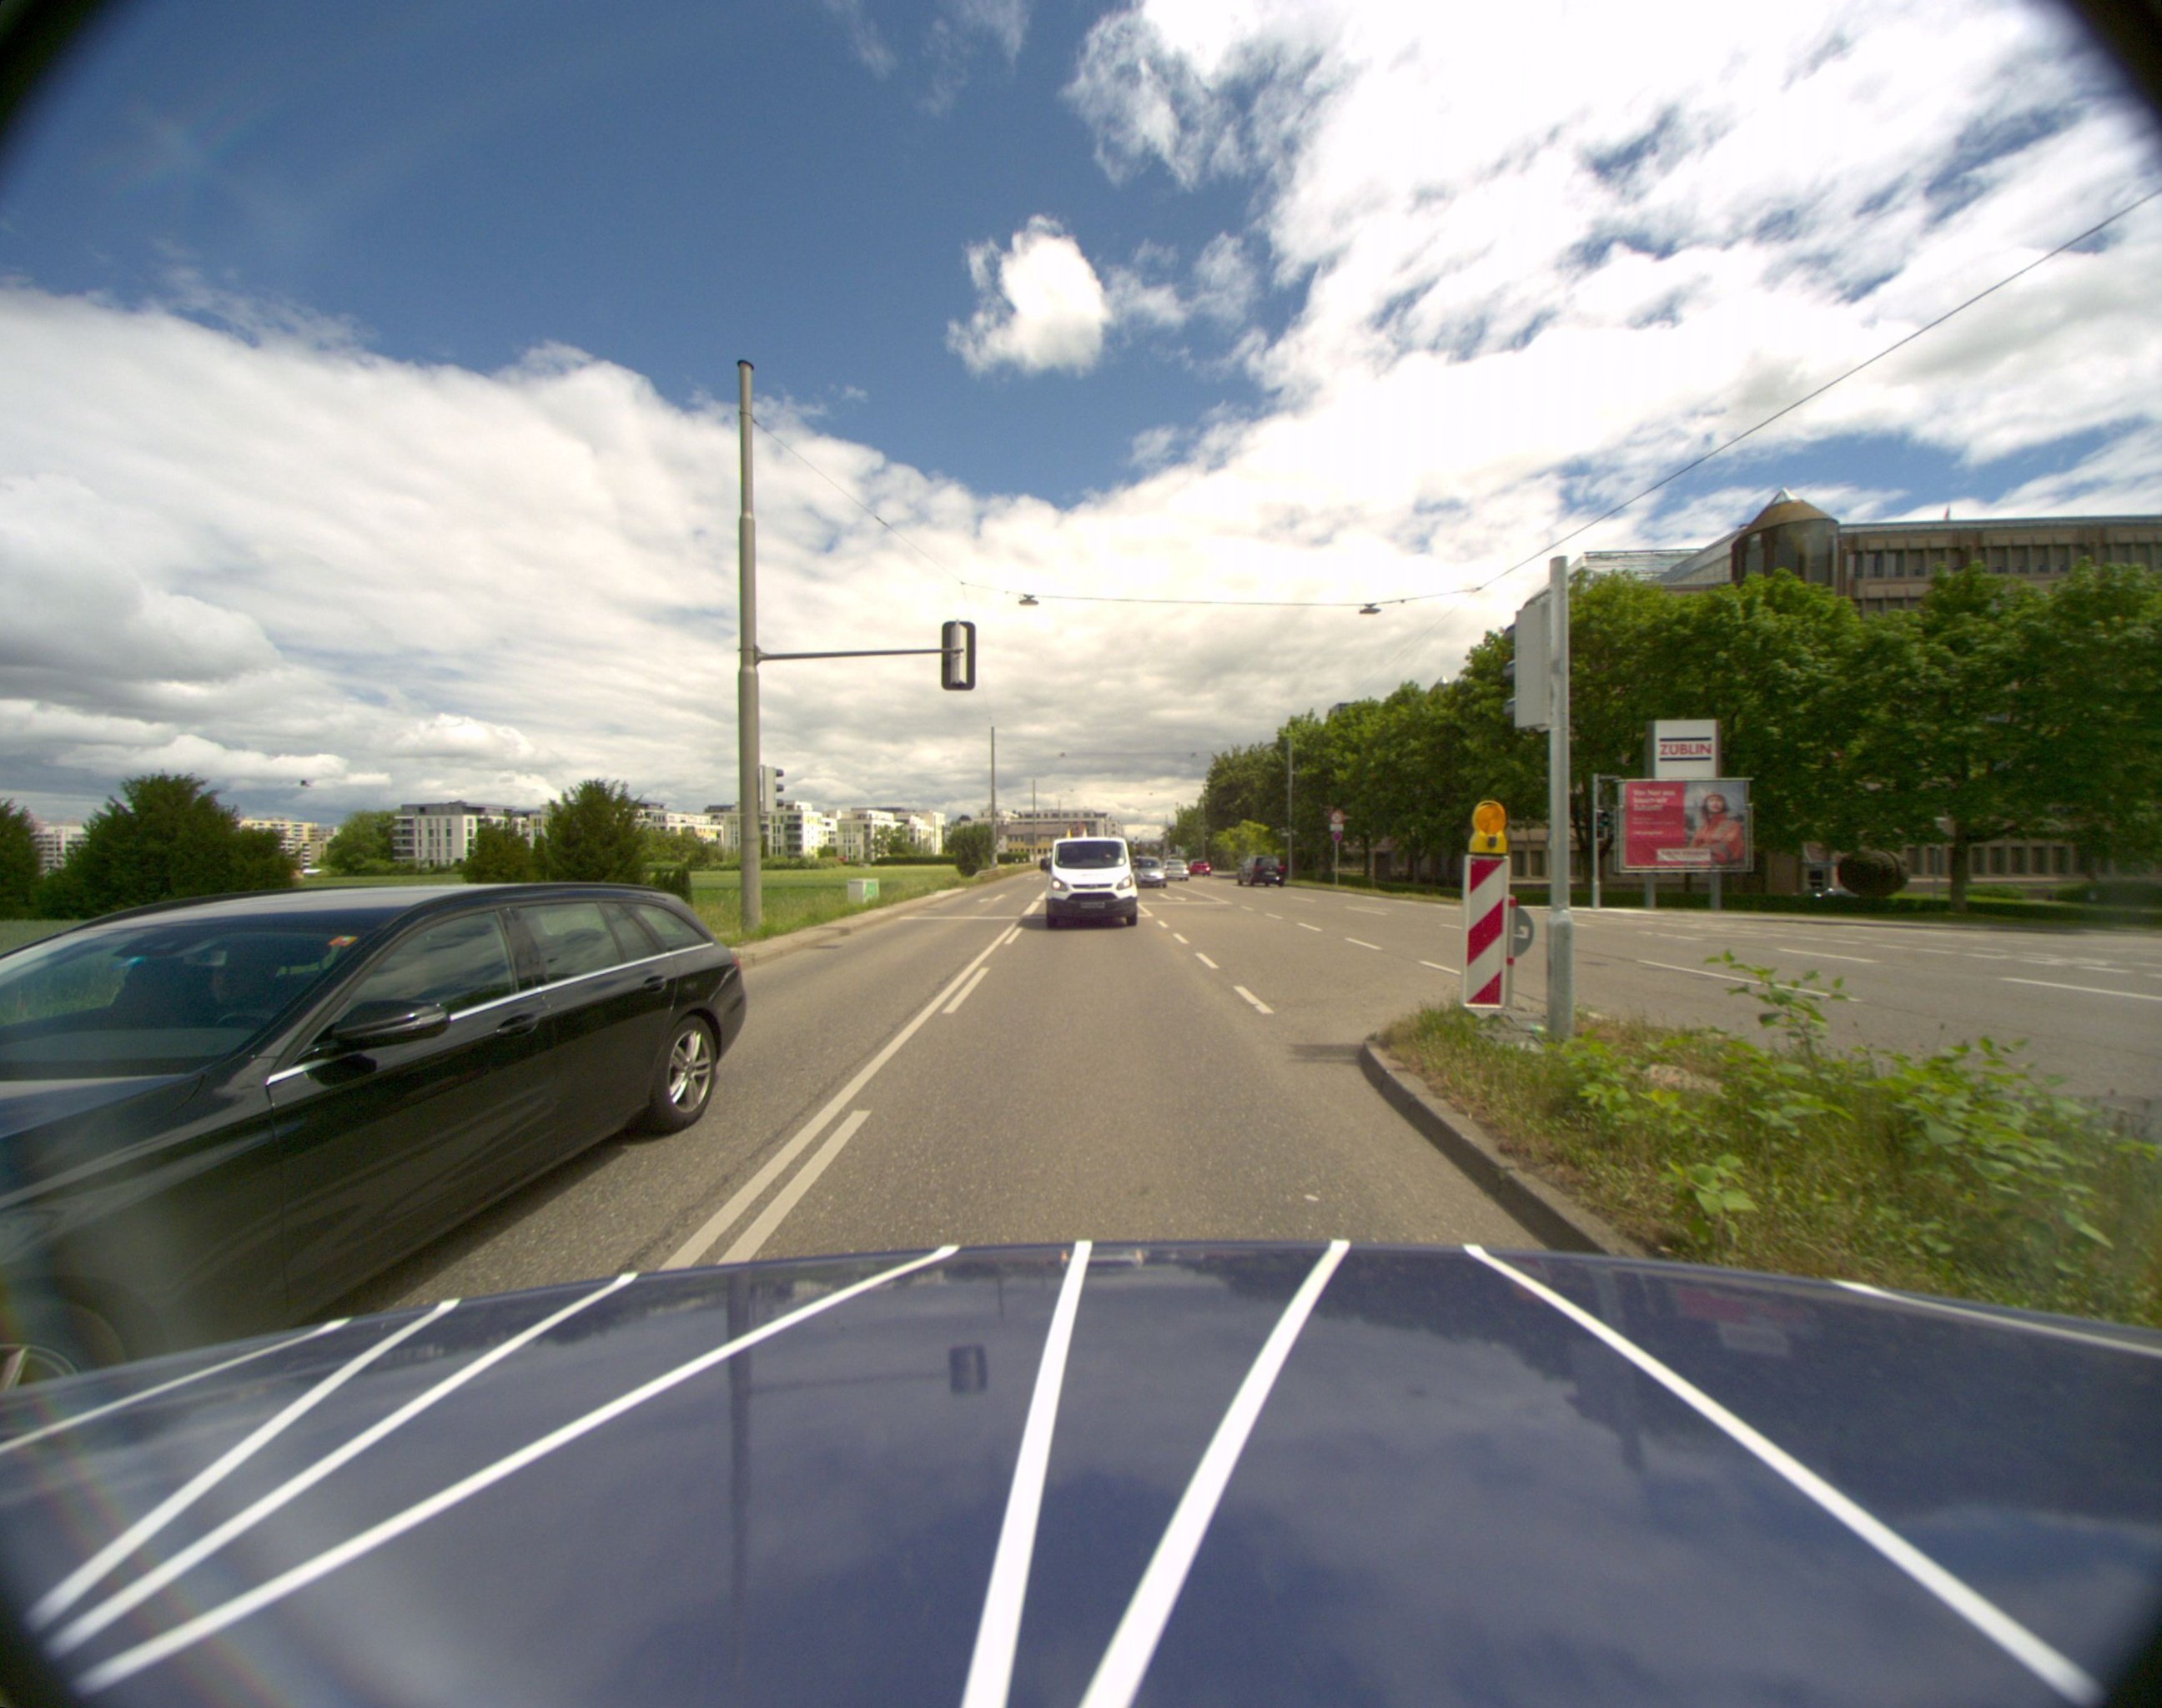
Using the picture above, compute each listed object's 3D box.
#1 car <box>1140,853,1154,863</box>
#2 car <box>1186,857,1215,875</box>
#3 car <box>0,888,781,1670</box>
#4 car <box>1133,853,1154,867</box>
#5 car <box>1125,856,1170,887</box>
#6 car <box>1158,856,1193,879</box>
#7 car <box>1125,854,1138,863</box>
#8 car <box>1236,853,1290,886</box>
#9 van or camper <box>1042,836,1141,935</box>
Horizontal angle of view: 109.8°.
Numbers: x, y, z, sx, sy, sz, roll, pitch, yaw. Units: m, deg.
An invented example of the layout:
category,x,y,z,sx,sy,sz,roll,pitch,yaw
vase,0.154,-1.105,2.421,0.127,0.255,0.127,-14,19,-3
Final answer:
category,x,y,z,sx,sy,sz,roll,pitch,yaw
car,10.388,0.651,119.144,1.897,1.587,4.000,0,0,0
car,10.201,1.026,65.027,1.784,1.407,3.999,0,0,0
car,-3.200,0.990,3.100,1.877,1.432,5.199,-1,0,0
car,7.074,0.645,86.114,1.999,1.608,4.306,-1,0,0
car,3.265,0.843,37.851,1.894,1.433,4.000,-1,0,1
car,6.367,0.900,51.653,1.796,1.439,4.422,-1,0,0
car,8.013,0.722,121.916,1.800,1.445,4.000,1,0,0
car,10.042,0.830,42.261,1.998,1.692,4.761,-1,0,3
van or camper,0.217,0.638,18.395,1.999,2.002,5.799,-1,0,0
